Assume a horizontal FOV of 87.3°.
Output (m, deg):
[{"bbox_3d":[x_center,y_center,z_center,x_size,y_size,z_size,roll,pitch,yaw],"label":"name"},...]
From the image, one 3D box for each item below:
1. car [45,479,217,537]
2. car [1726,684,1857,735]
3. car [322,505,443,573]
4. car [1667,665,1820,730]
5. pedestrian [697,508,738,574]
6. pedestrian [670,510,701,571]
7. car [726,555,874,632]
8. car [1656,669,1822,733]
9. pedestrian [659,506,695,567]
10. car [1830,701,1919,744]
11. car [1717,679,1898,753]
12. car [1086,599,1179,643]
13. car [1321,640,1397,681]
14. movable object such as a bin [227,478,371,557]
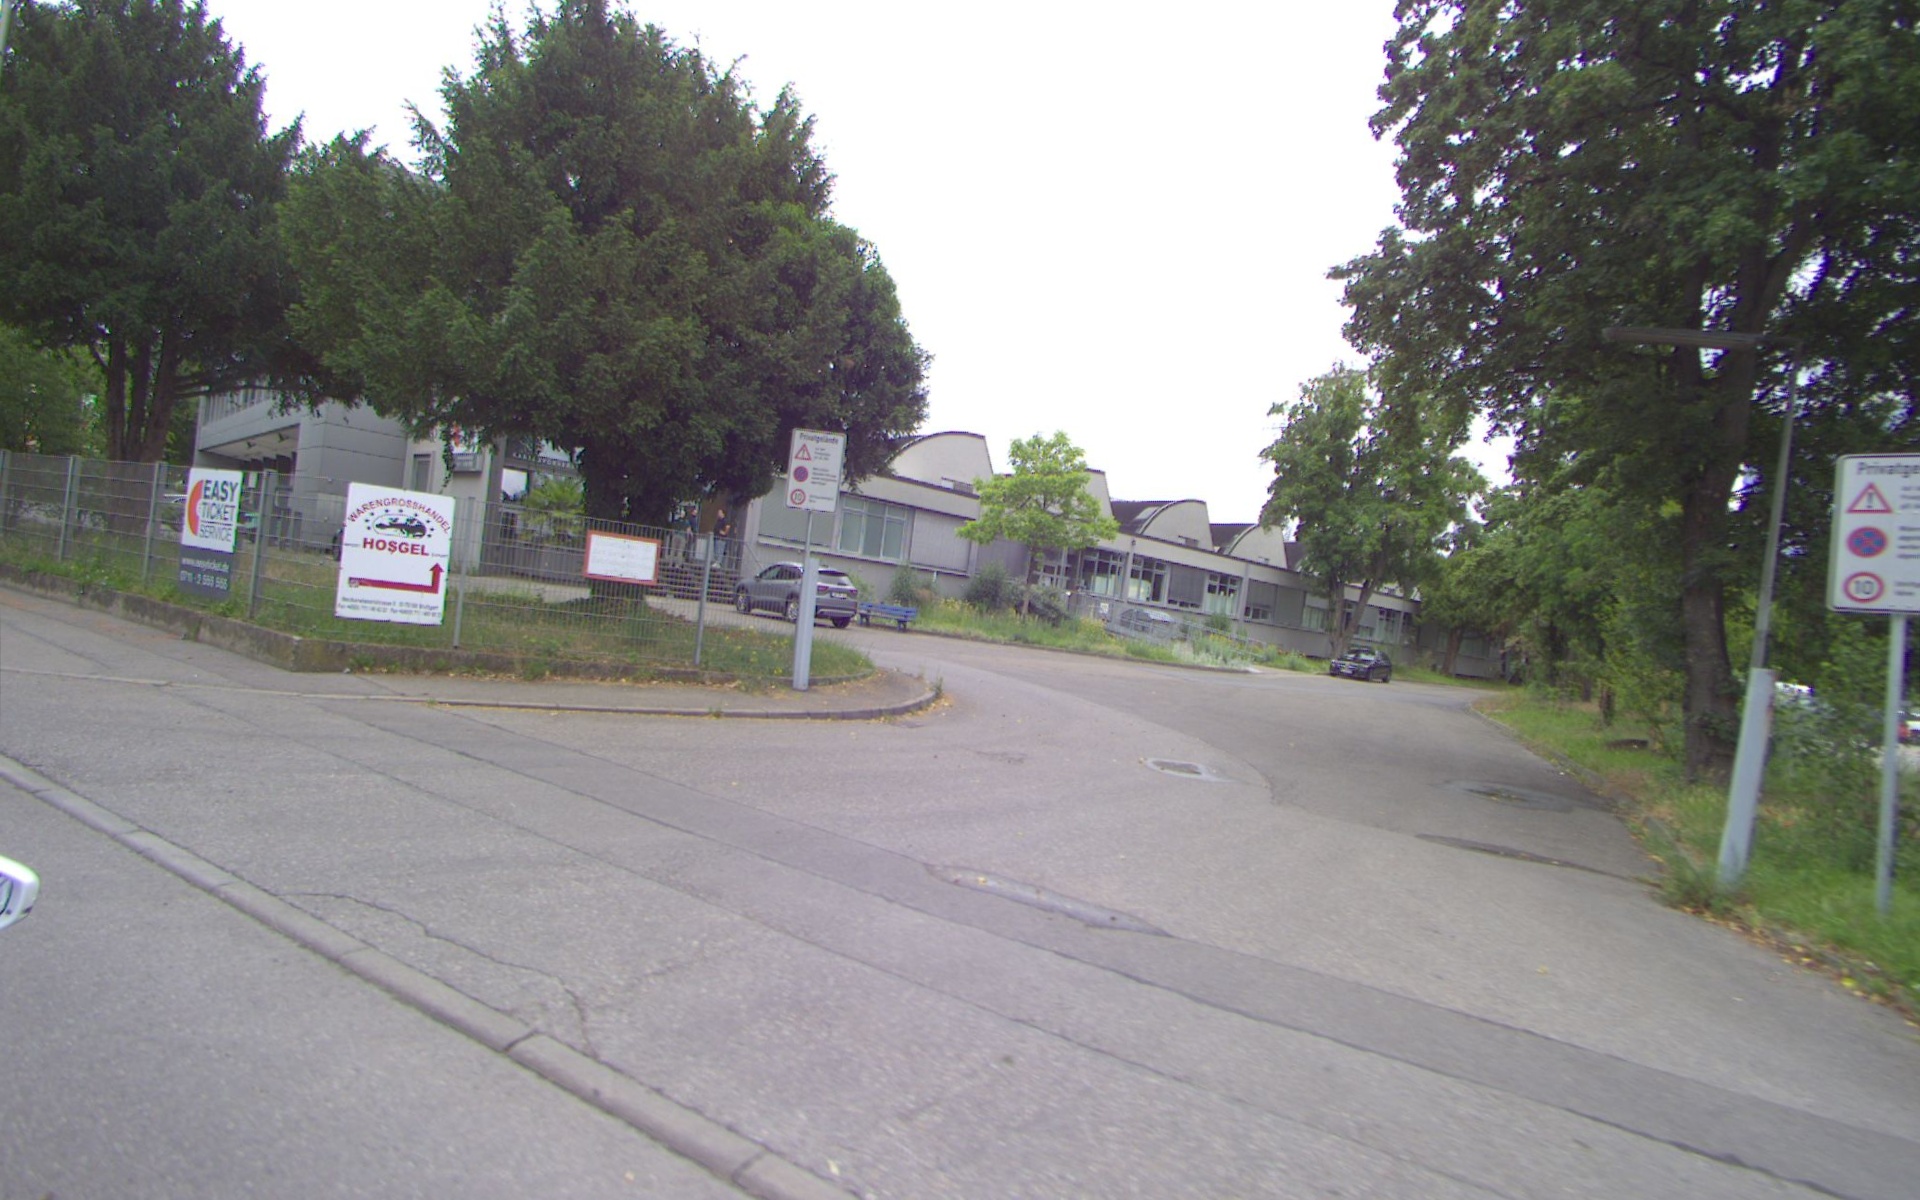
[{"bbox_3d":[-31.559,-3.473,38.436,4.614,1.492,1.996,6,1,-10],"label":"car"},{"bbox_3d":[39.217,5.142,47.546,1.892,1.672,4.352,6,1,-37],"label":"car"},{"bbox_3d":[-17.351,-1.850,30.126,4.383,1.588,1.987,8,4,44],"label":"car"},{"bbox_3d":[34.655,4.286,44.629,2.083,2.130,4.852,6,1,-37],"label":"car"},{"bbox_3d":[-8.033,-1.955,33.325,0.791,2.039,0.910,5,2,-41],"label":"pedestrian"},{"bbox_3d":[-9.113,-1.980,33.373,0.736,1.909,0.690,6,1,-24],"label":"pedestrian"},{"bbox_3d":[-4.669,-0.218,28.957,1.987,1.633,4.386,6,2,-43],"label":"car"},{"bbox_3d":[29.245,3.735,37.977,4.575,1.666,1.964,7,1,30],"label":"car"},{"bbox_3d":[-8.944,-1.985,31.765,0.907,1.774,0.793,6,1,-19],"label":"pedestrian"},{"bbox_3d":[48.821,6.483,52.798,1.885,1.672,4.360,6,1,-37],"label":"car"},{"bbox_3d":[25.541,3.460,30.507,3.820,1.549,1.734,7,1,32],"label":"car"},{"bbox_3d":[8.225,0.998,48.219,1.896,1.540,4.018,6,2,-40],"label":"car"},{"bbox_3d":[18.550,2.831,46.644,1.970,1.540,4.423,8,1,38],"label":"car"},{"bbox_3d":[-24.362,-3.012,37.168,1.926,2.334,3.977,8,1,43],"label":"movable object such as a bin"}]
